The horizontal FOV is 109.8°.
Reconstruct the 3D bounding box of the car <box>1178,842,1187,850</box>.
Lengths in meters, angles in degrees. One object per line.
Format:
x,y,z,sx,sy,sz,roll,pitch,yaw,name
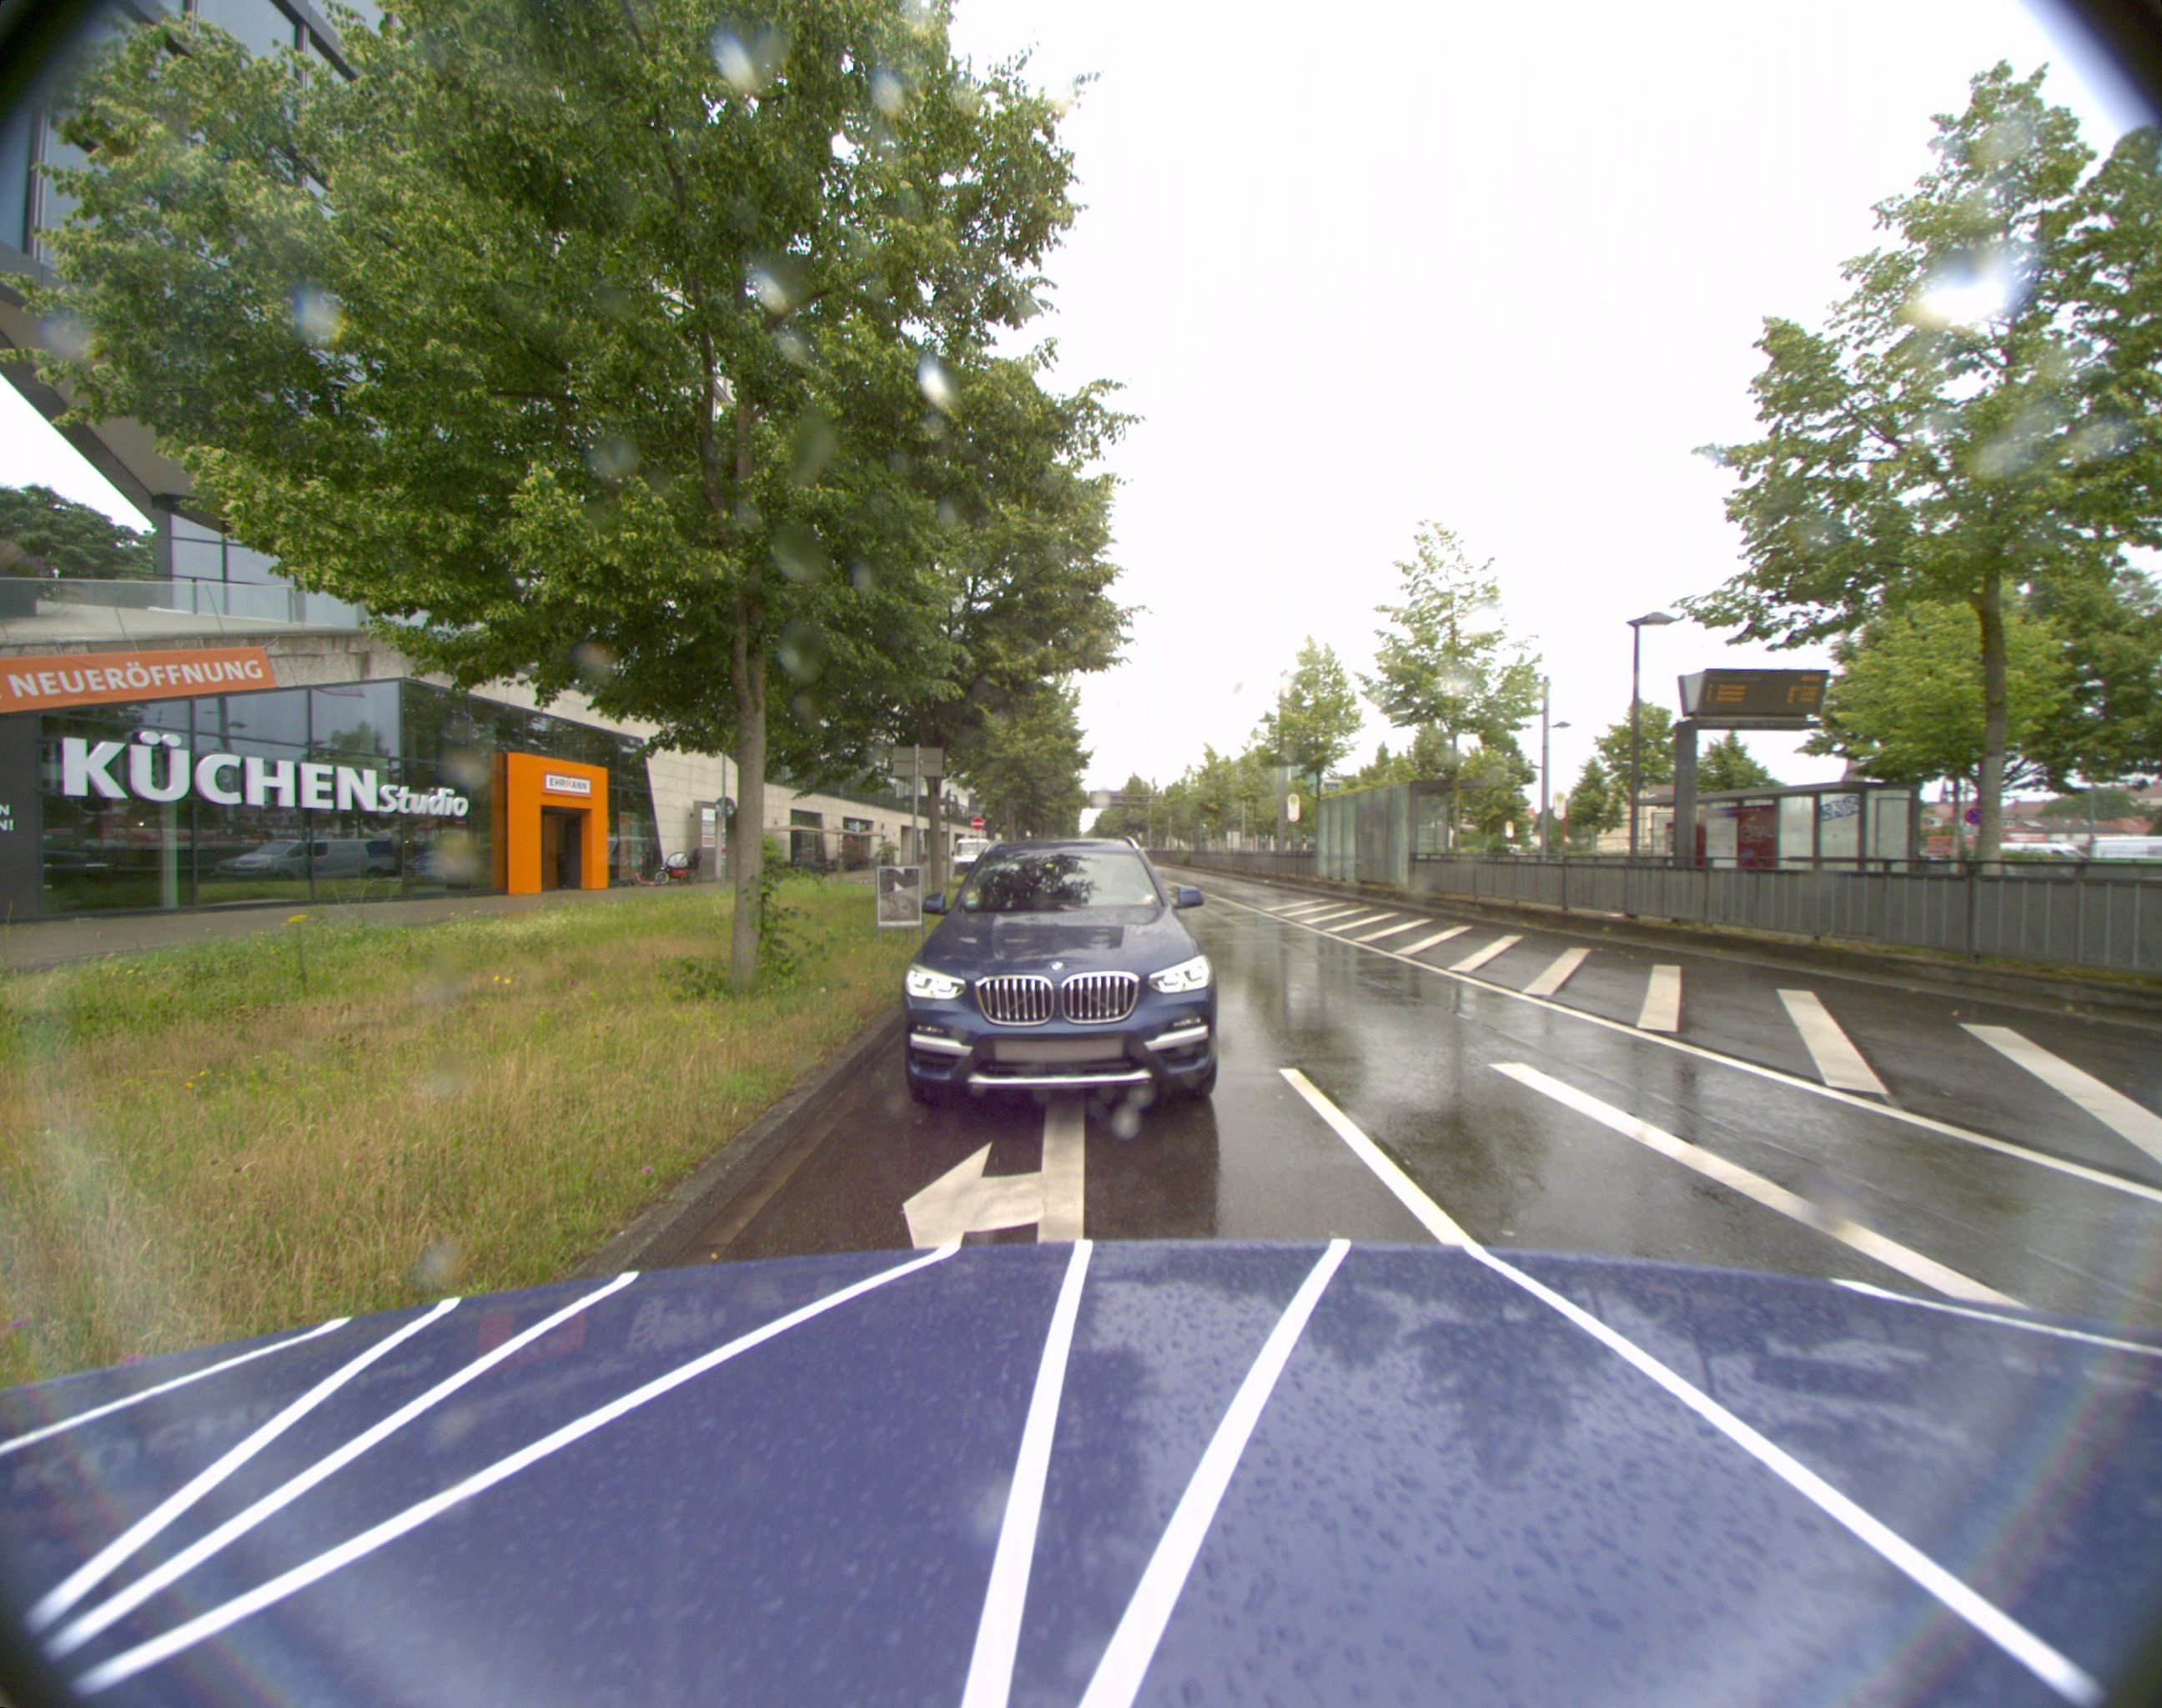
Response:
27.892,-2.264,208.183,1.998,2.002,4.000,-2,1,2,car

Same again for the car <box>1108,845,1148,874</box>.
2.564,0.267,42.280,1.788,1.509,4.331,-2,1,-2,car

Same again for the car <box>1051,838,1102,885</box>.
-0.149,0.237,29.500,1.788,1.638,3.999,-2,1,1,car

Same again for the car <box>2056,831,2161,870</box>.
70.143,-0.271,49.828,2.356,2.462,7.636,-2,1,-3,car

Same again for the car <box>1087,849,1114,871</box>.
1.332,0.396,53.692,1.788,1.450,4.315,-2,1,1,car

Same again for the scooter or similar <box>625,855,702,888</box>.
-15.504,0.625,28.295,0.810,1.093,2.617,-2,1,18,scooter or similar

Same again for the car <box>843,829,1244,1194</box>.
-0.158,0.814,5.948,1.916,1.736,4.384,-2,-1,1,car

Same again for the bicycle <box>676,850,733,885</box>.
-15.384,0.530,31.159,0.882,1.339,2.696,-2,1,1,bicycle

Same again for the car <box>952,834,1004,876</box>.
-5.809,0.042,43.471,2.084,2.189,5.097,-2,1,1,car
